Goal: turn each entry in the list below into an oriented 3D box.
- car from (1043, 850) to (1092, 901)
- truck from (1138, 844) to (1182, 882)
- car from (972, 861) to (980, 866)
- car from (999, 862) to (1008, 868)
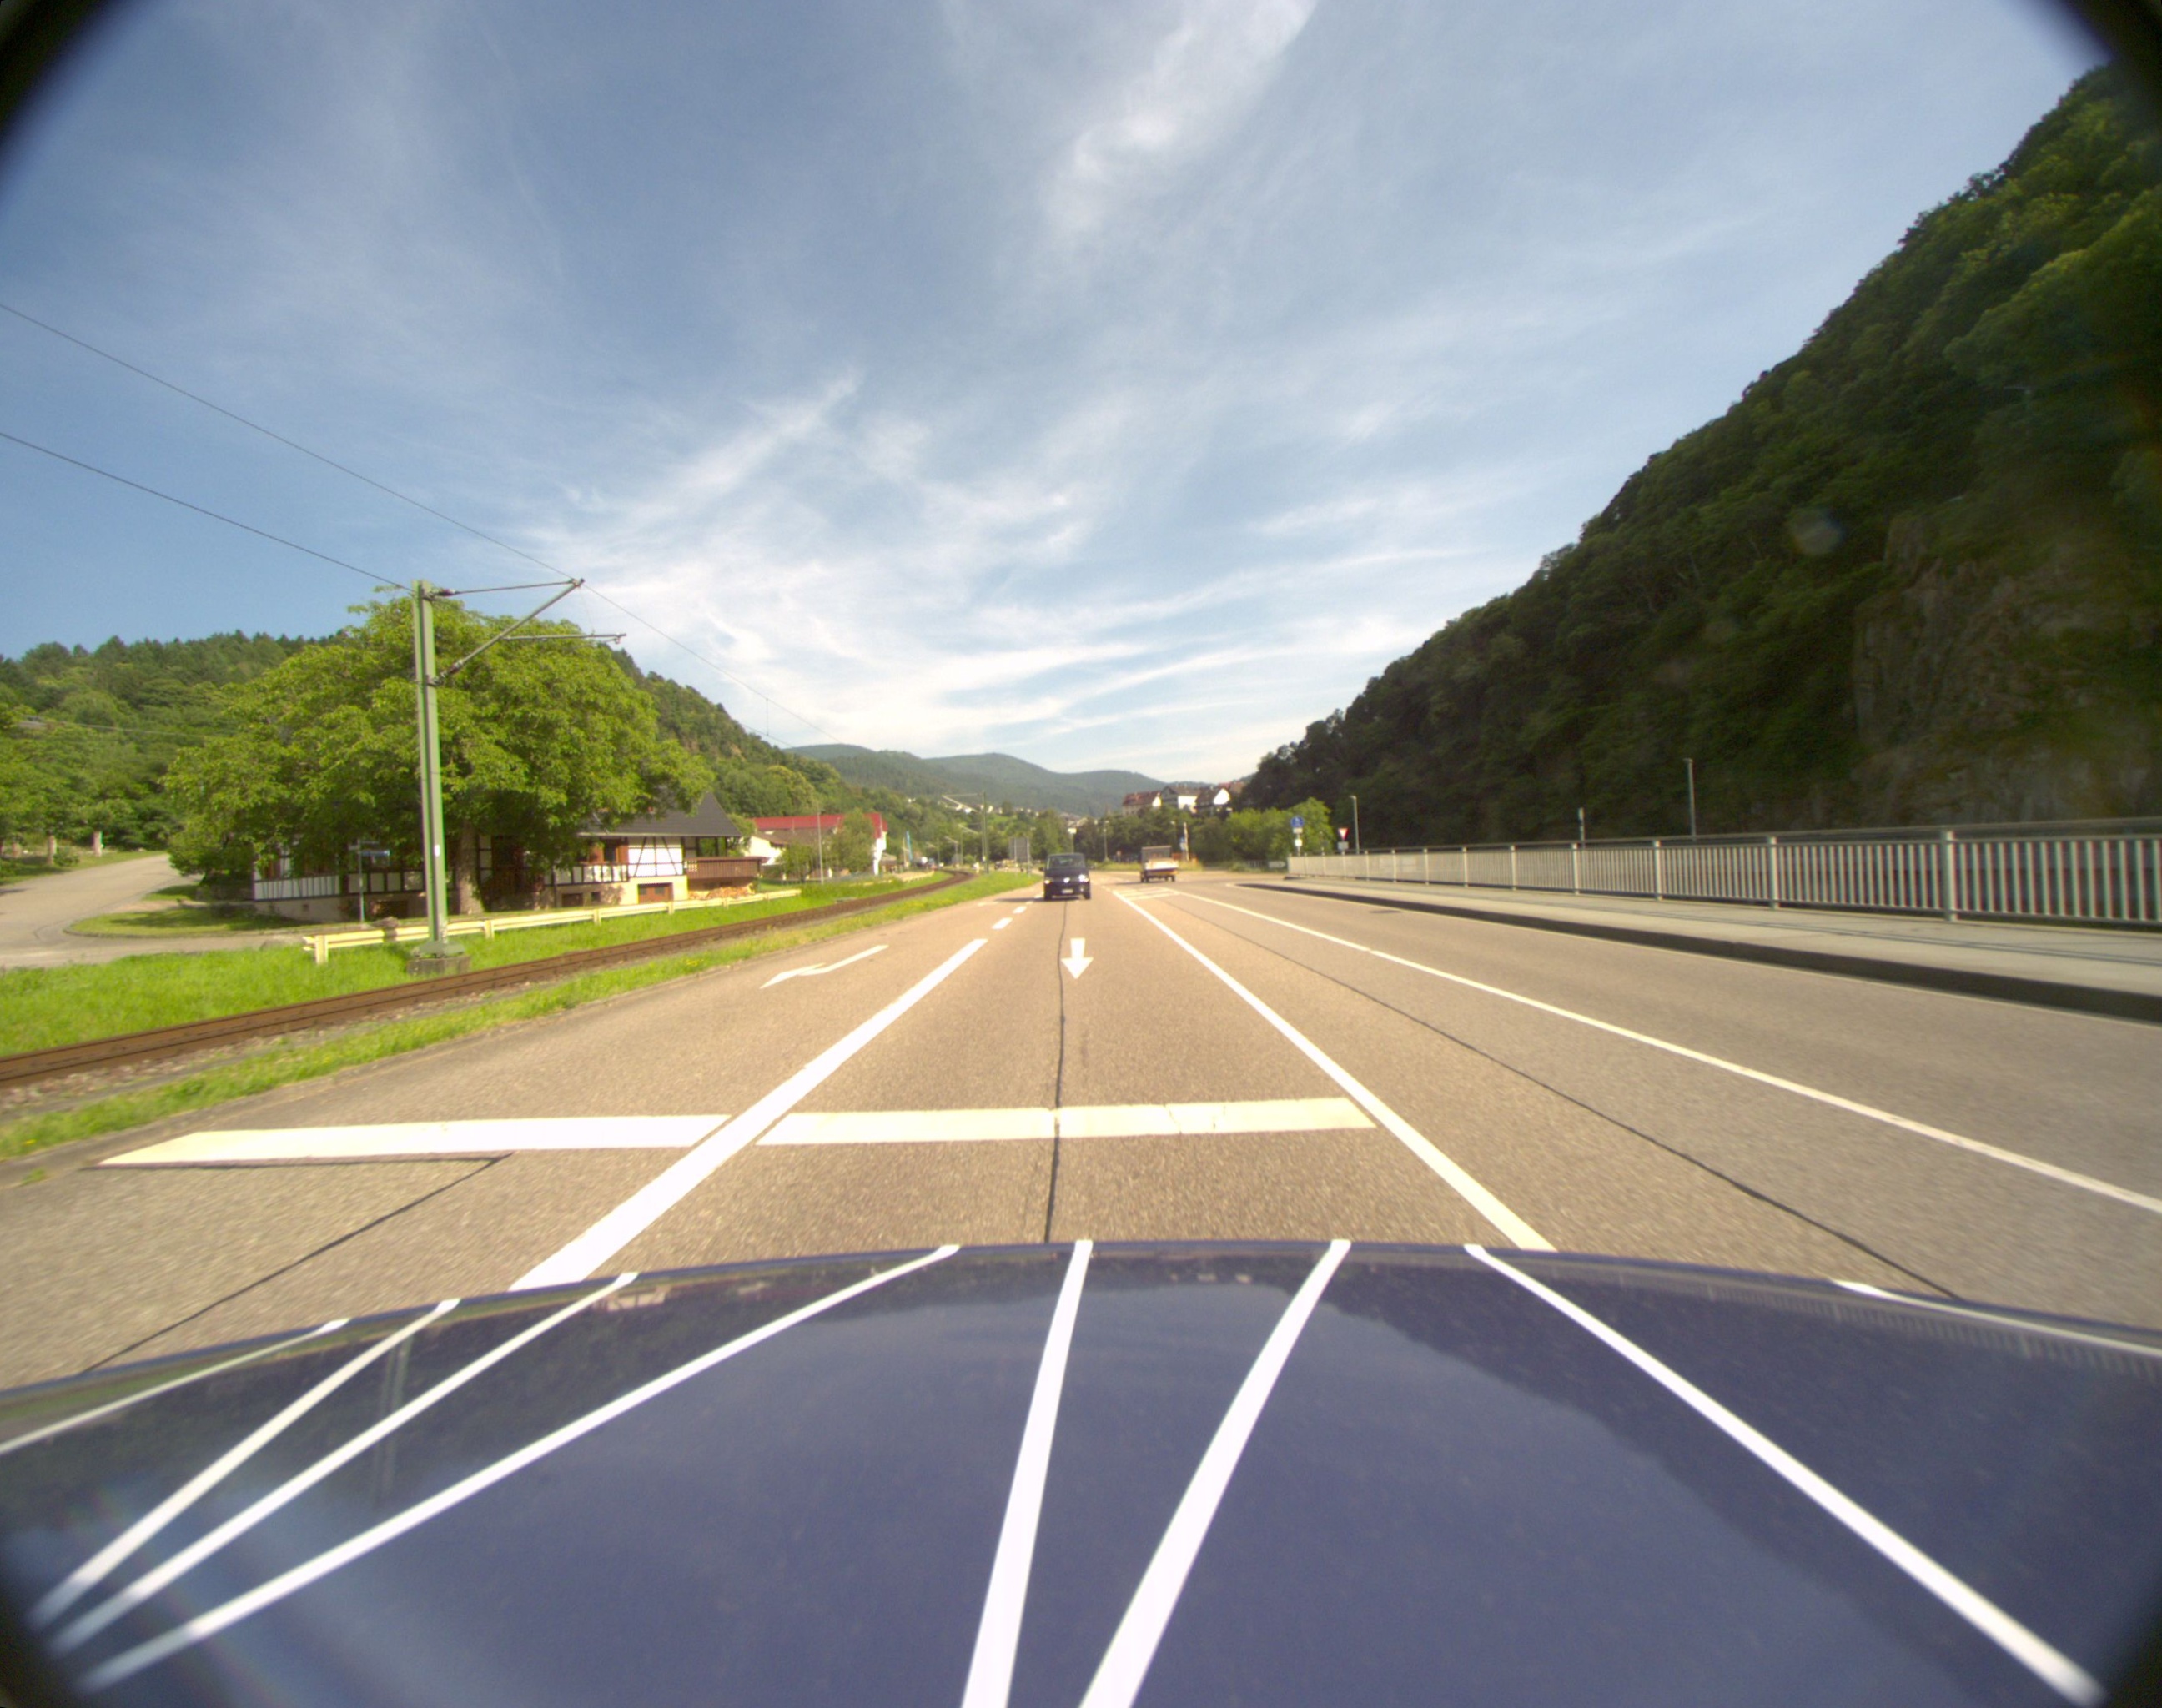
[{"bbox_3d":[-0.567,0.853,32.301,1.865,1.936,4.638,-2,0,-1],"label":"car"},{"bbox_3d":[5.358,0.581,52.353,2.169,2.373,5.854,-3,0,-1],"label":"truck"},{"bbox_3d":[-34.334,3.110,248.462,1.871,1.652,3.994,-4,0,-21],"label":"car"},{"bbox_3d":[-22.227,3.162,218.121,2.001,1.652,3.995,-3,0,-15],"label":"car"}]
